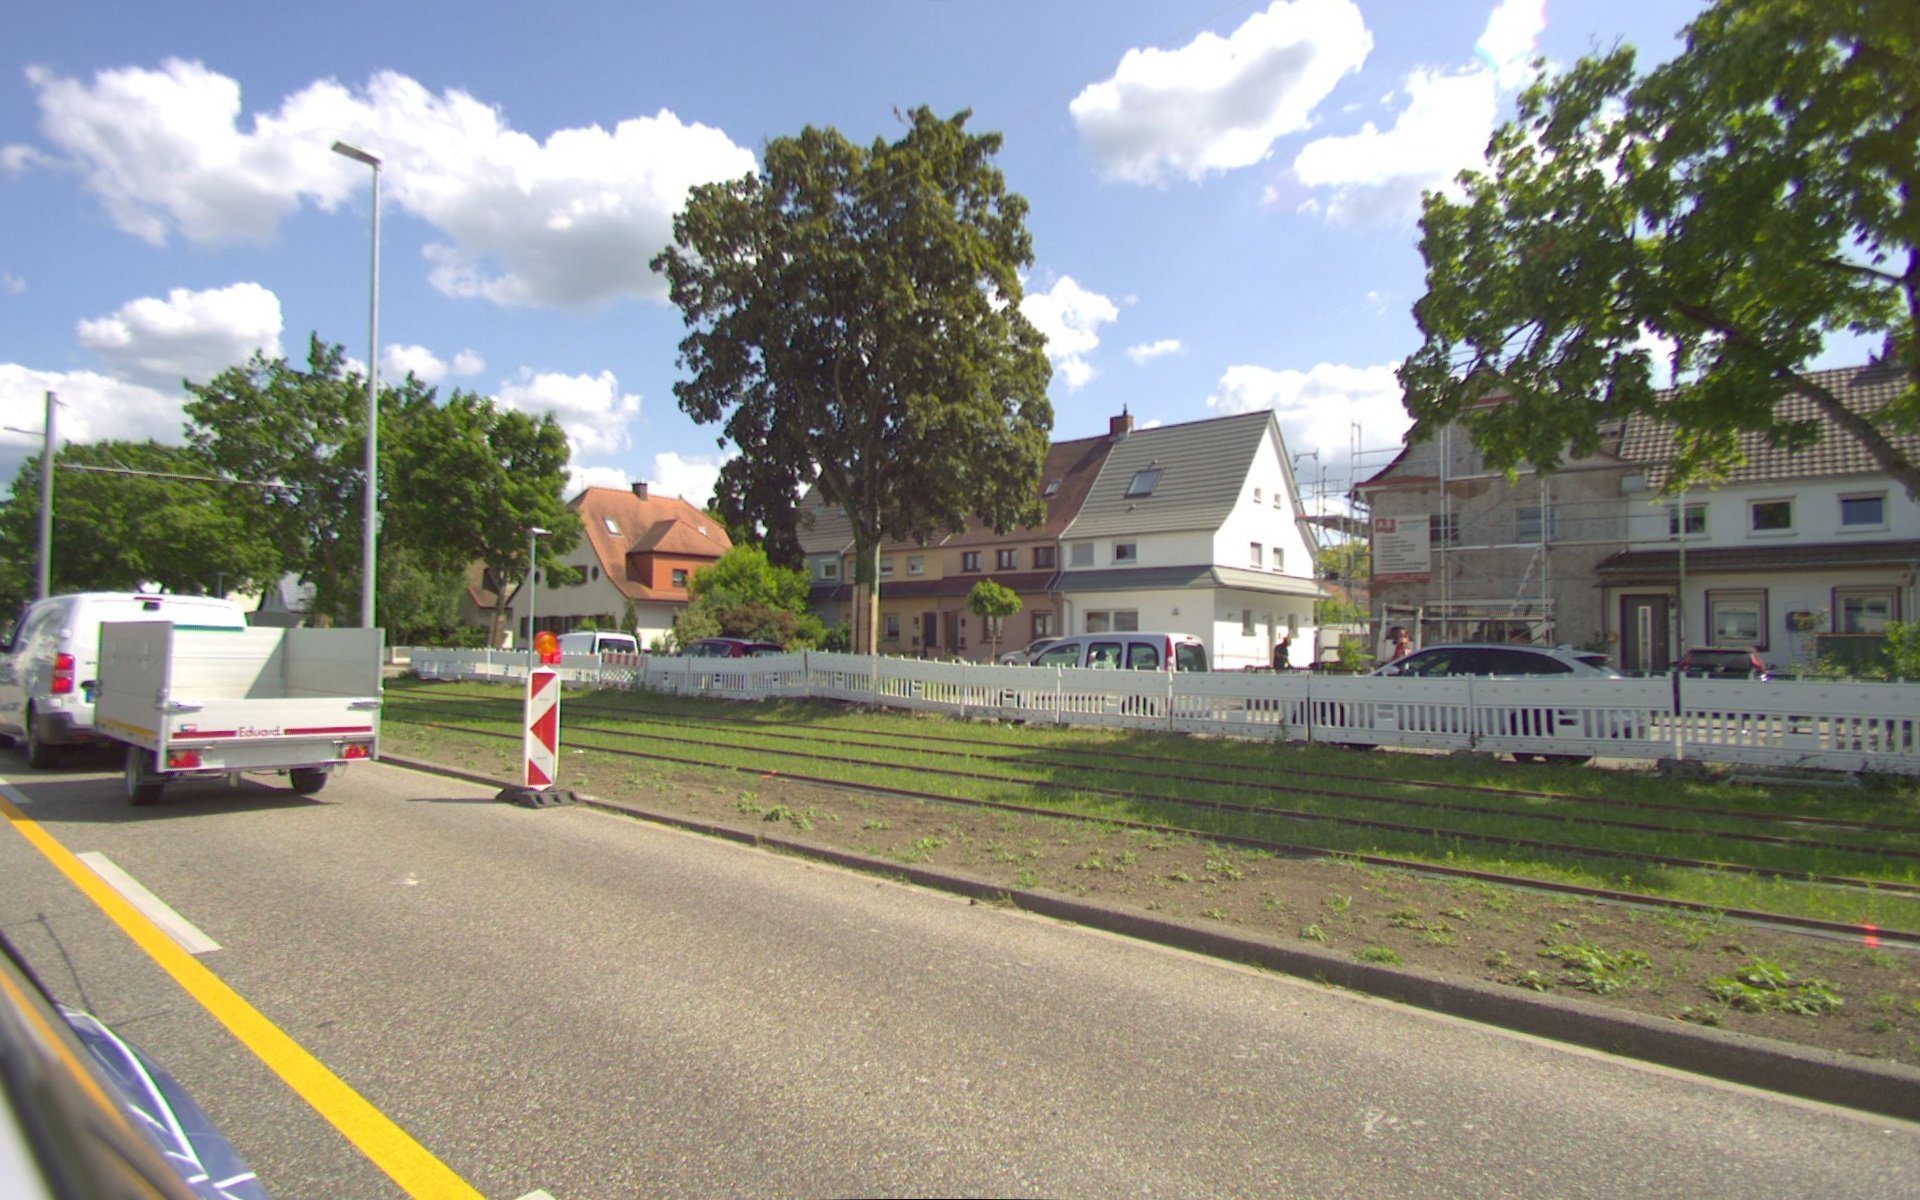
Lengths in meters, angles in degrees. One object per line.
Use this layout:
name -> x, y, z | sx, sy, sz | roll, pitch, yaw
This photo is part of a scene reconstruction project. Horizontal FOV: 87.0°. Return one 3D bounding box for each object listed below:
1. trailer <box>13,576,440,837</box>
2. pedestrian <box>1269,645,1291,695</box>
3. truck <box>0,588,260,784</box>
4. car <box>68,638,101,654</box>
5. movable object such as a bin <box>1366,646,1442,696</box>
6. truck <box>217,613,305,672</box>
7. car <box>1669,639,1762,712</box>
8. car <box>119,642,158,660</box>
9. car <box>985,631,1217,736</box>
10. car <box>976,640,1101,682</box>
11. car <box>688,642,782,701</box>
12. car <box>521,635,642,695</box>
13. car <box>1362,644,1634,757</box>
trailer -> -7.292, 0.866, 9.782 | 5.482, 1.849, 2.041 | -1, -5, 41
pedestrian -> 9.224, 2.013, 29.174 | 0.471, 1.387, 0.418 | -1, -1, 40
truck -> -10.453, 0.932, 12.328 | 5.113, 1.924, 1.801 | -1, -5, 40
car -> -73.486, 3.845, 84.931 | 3.998, 1.311, 1.615 | -1, -1, 41
movable object such as a bin -> 11.823, 1.874, 27.047 | 1.441, 1.207, 1.892 | -1, -1, 11
truck -> -35.870, 2.107, 51.843 | 5.948, 2.826, 2.340 | -1, -1, 41
car -> 16.340, 1.582, 21.839 | 1.286, 1.390, 2.776 | -1, -1, 43
car -> -60.593, 3.745, 74.638 | 3.785, 1.251, 1.604 | -1, -1, 41
car -> 2.478, 1.435, 18.281 | 3.897, 1.664, 1.605 | -1, -4, 41
car -> 2.602, 2.025, 34.059 | 4.118, 1.285, 1.518 | -1, -4, 41
car -> -5.578, 1.743, 25.002 | 2.450, 1.358, 1.060 | -1, -4, 45
car -> -11.360, 1.920, 30.278 | 3.998, 1.638, 1.635 | -1, -4, 41
car -> 7.415, 1.337, 14.094 | 3.112, 1.388, 1.336 | -3, -5, 41
